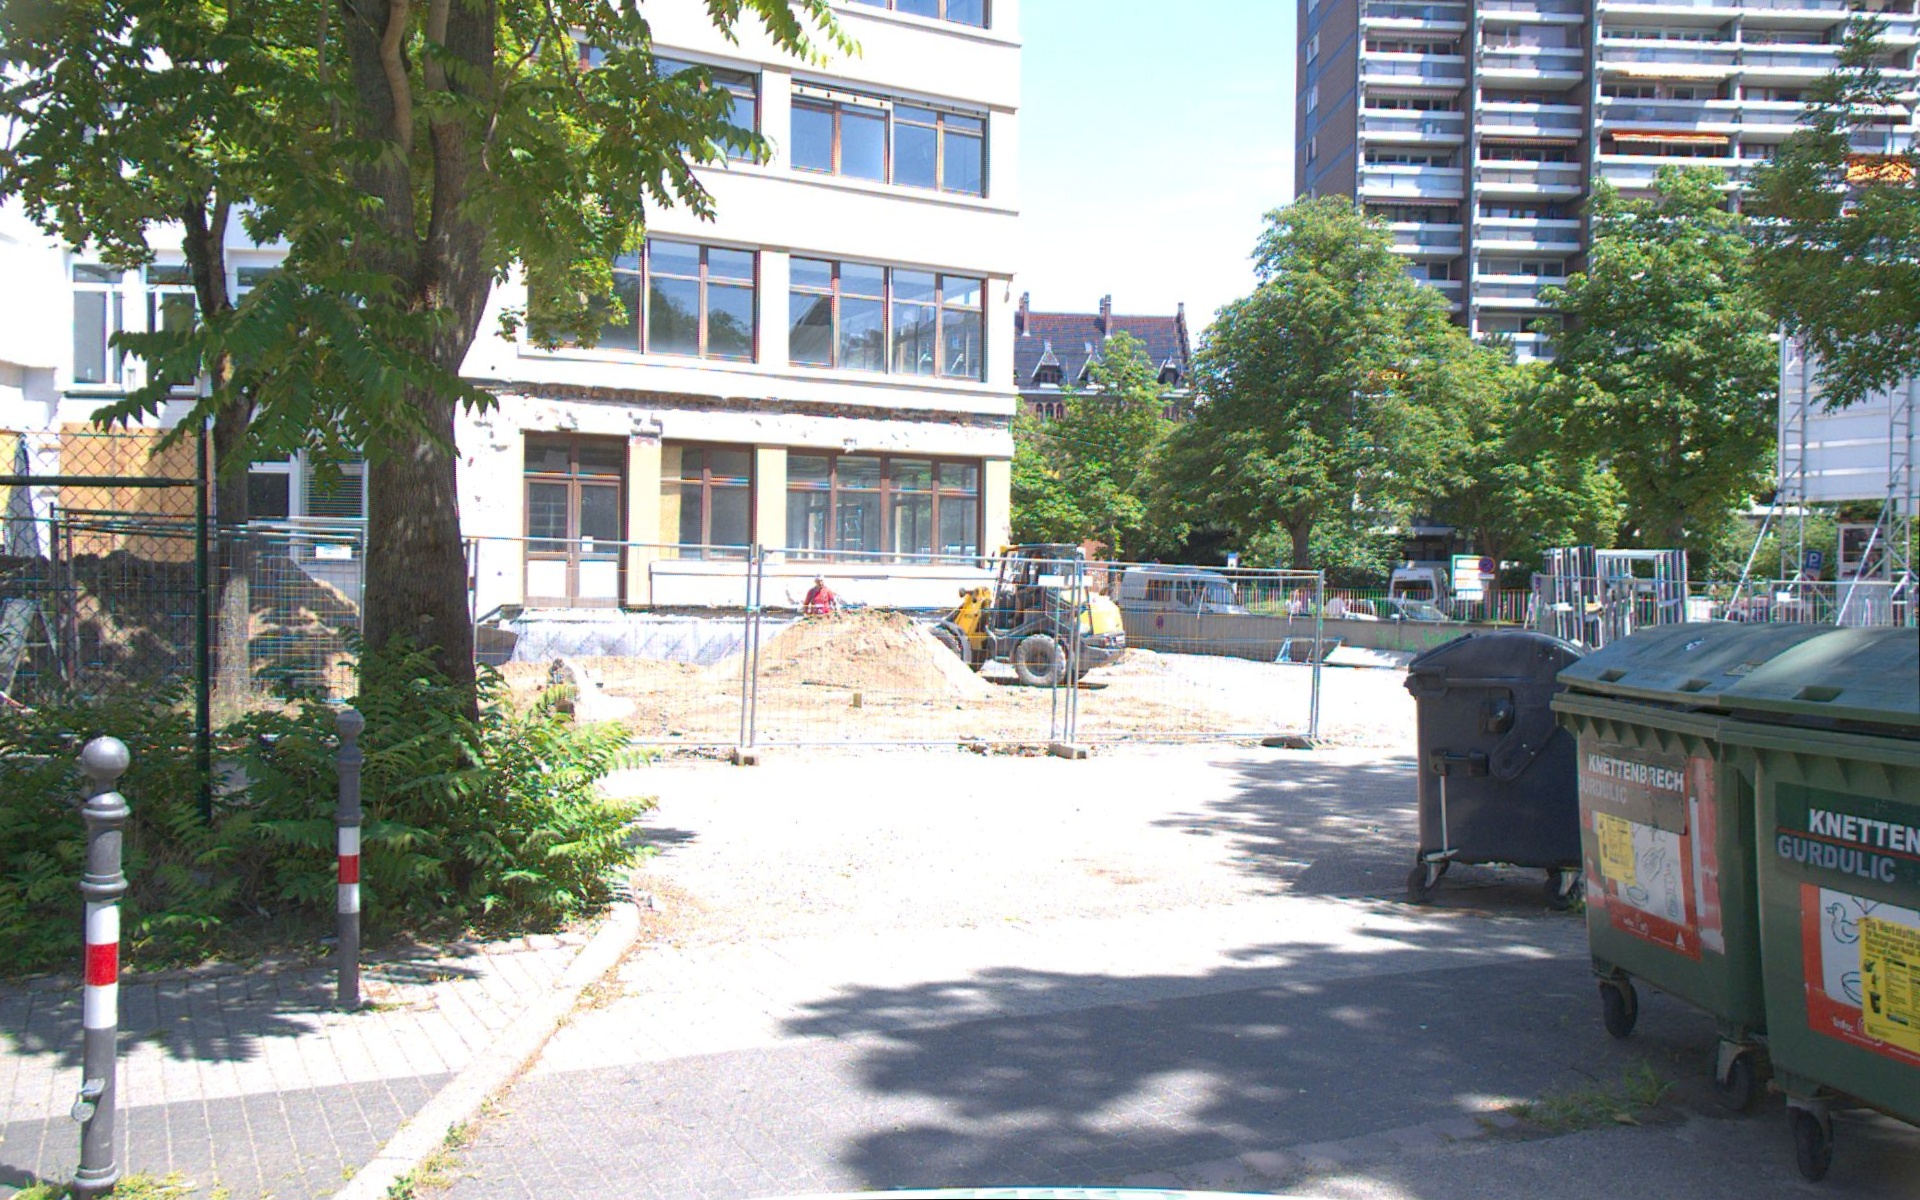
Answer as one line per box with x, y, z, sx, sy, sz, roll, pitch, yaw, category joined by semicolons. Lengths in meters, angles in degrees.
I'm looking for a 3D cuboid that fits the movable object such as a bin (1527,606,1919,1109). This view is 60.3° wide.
2.682;0.770;5.603;1.053;1.483;1.377;0;0;0;movable object such as a bin

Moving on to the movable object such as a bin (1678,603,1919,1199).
2.641;0.754;4.181;1.053;1.483;1.377;0;0;0;movable object such as a bin

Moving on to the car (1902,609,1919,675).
22.994;0.960;35.531;1.650;1.463;4.641;1;0;-29;car

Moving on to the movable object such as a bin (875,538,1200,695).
1.403;0.238;29.821;5.295;2.507;2.367;2;1;24;movable object such as a bin

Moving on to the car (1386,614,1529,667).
13.234;1.051;43.986;3.674;1.343;1.598;1;0;-30;car

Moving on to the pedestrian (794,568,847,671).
-2.609;0.363;30.843;0.897;1.879;0.984;1;0;-10;pedestrian

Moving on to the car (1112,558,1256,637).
7.300;-0.083;54.436;1.972;2.458;5.192;1;0;-29;car

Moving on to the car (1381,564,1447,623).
18.311;-0.252;66.573;2.139;2.297;4.869;0;0;21;car

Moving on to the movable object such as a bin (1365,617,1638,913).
2.930;0.847;9.114;1.053;1.483;1.377;0;0;0;movable object such as a bin
